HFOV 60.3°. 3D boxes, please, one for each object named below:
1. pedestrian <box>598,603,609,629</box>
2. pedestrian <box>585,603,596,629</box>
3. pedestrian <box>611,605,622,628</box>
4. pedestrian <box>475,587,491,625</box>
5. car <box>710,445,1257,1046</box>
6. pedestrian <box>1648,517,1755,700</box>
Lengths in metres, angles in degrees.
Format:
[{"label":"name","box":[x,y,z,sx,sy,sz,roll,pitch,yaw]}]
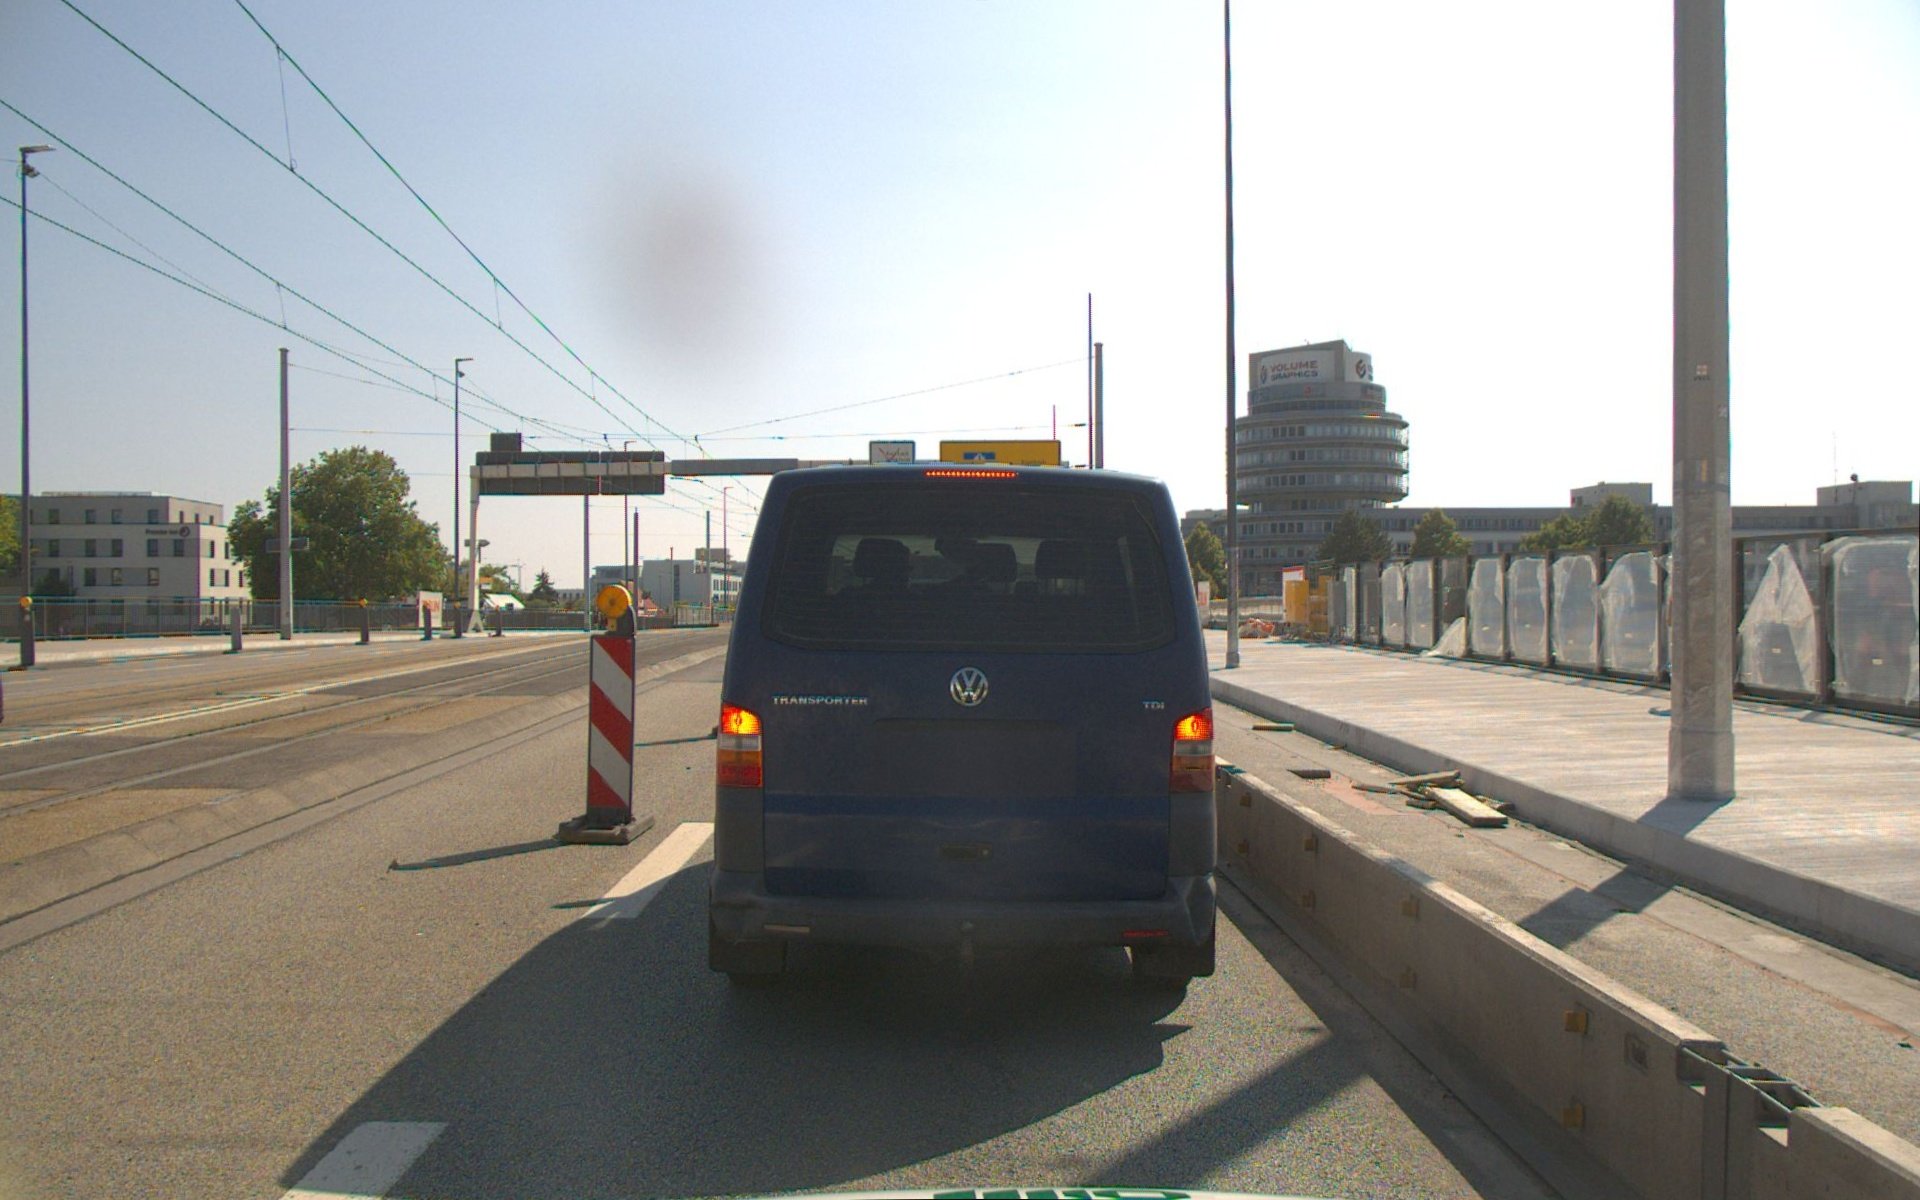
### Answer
[{"label":"pedestrian","box":[-25.027,1.148,116.140,0.621,1.805,0.752,1,0,-1]},{"label":"pedestrian","box":[-25.910,1.092,115.895,0.621,1.783,0.752,1,0,-2]},{"label":"pedestrian","box":[-24.646,1.196,118.735,0.621,1.626,0.752,1,0,-1]},{"label":"pedestrian","box":[-24.028,0.301,83.302,0.621,1.926,0.752,1,0,-1]},{"label":"car","box":[0.002,0.454,7.409,1.779,1.939,4.052,0,0,-2]},{"label":"pedestrian","box":[8.214,0.092,18.348,0.766,1.969,0.799,-2,-1,-1]}]
